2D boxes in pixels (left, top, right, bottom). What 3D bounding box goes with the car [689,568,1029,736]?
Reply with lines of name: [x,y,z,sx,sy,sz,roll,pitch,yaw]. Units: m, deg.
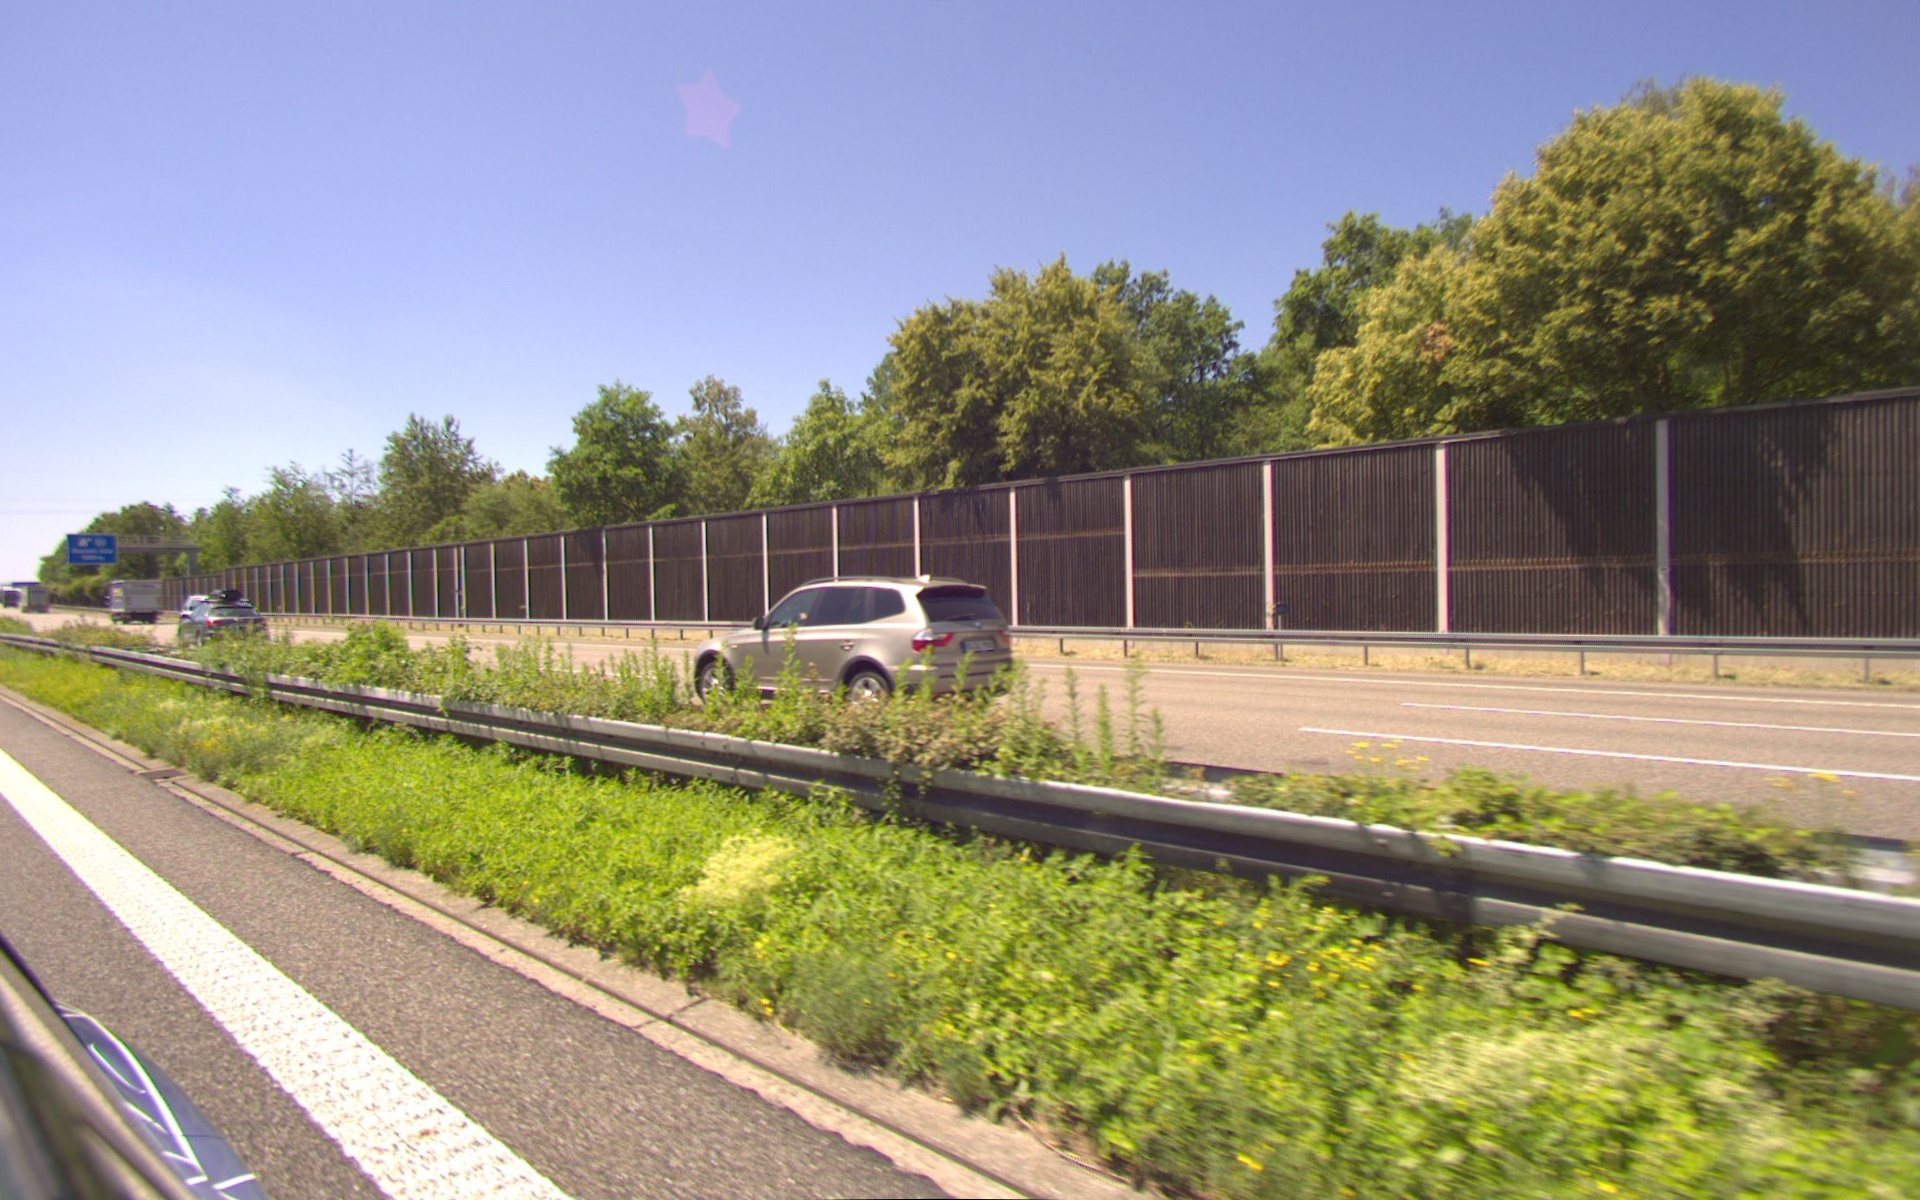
car: [-1.315,0.534,12.038,4.037,1.664,1.748,-1,0,41]

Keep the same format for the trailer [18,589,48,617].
trailer: [-141.933,0.429,154.894,13.656,4.167,2.457,0,0,44]

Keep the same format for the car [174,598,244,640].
car: [-37.272,0.903,50.194,4.608,1.960,1.906,-1,0,42]

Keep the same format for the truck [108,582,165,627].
truck: [-69.979,0.348,85.886,8.748,3.636,2.801,0,0,45]

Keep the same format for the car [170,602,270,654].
car: [-24.025,0.865,32.800,4.359,1.555,1.695,-1,0,41]
